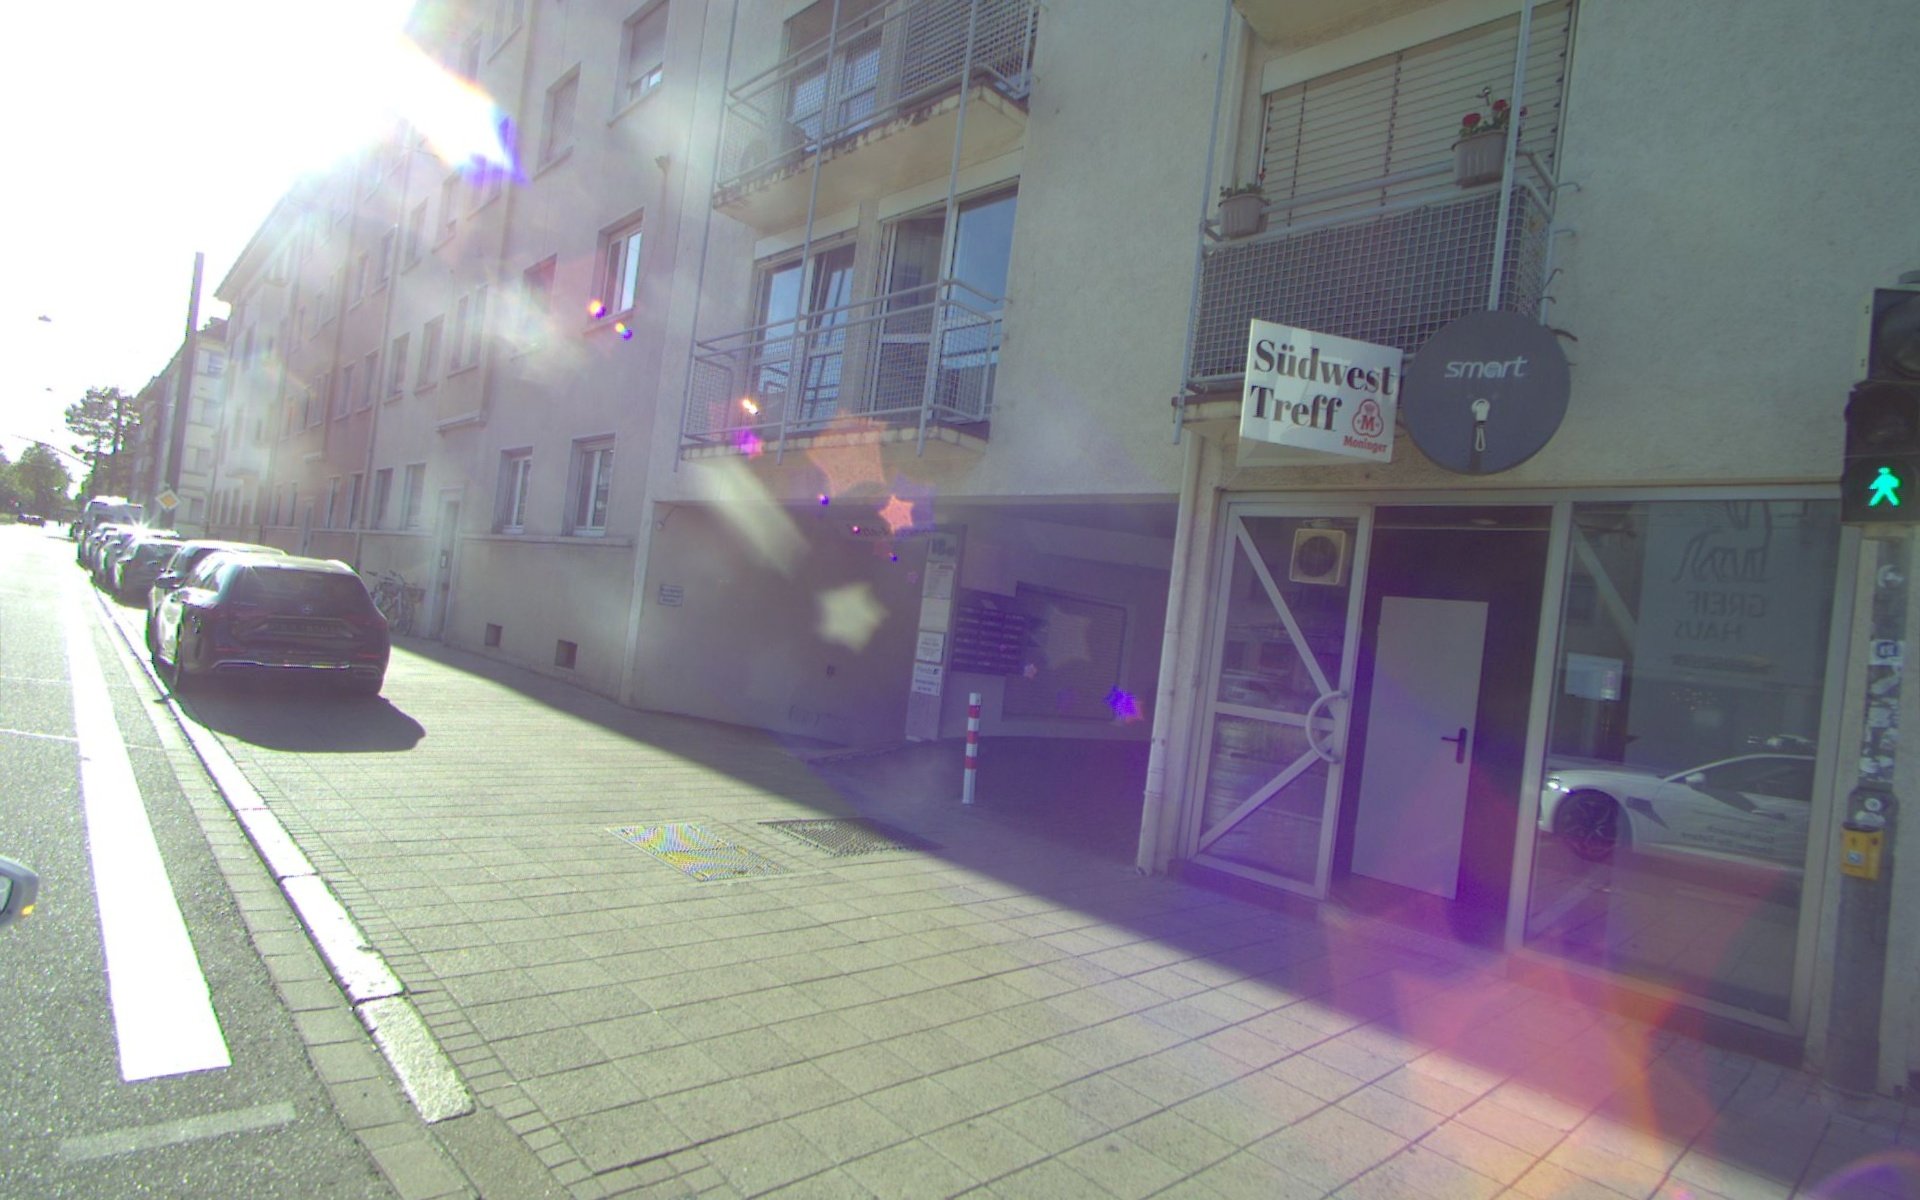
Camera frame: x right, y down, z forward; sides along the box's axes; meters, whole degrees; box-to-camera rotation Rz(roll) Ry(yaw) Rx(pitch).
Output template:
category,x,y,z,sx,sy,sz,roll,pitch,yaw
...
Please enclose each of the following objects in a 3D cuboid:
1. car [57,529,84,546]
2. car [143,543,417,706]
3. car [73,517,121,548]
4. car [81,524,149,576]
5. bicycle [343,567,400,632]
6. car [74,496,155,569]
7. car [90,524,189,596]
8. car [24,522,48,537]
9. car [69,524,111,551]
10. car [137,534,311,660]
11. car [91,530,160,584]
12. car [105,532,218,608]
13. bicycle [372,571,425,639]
category,x,y,z,sx,sy,sz,roll,pitch,yaw
car,-93.895,-6.567,106.205,1.892,1.504,3.696,8,-4,-43
car,-7.973,0.196,11.575,1.877,1.415,4.685,6,-1,-43
car,-53.394,-4.138,62.222,1.893,1.504,3.694,8,-4,-44
car,-31.264,-1.884,37.185,1.584,1.655,3.870,5,0,-44
bicycle,-12.605,-0.024,21.521,0.627,1.208,1.860,5,1,-41
car,-35.788,-2.864,42.516,2.151,2.685,5.574,5,0,-44
car,-22.673,-1.126,27.752,1.656,1.664,4.131,5,0,-45
car,-133.900,-10.204,145.770,3.945,1.803,1.992,3,-4,41
car,-60.468,-4.314,69.917,1.893,1.504,3.694,8,-4,-44
car,-10.763,-0.072,14.649,1.548,1.544,2.952,7,-2,-44
car,-25.879,-1.364,31.220,1.495,1.444,3.415,5,0,-40
car,-19.269,-0.755,24.215,1.766,1.489,4.045,5,0,-43
bicycle,-11.265,0.088,20.171,0.512,1.207,1.539,7,-1,-41
